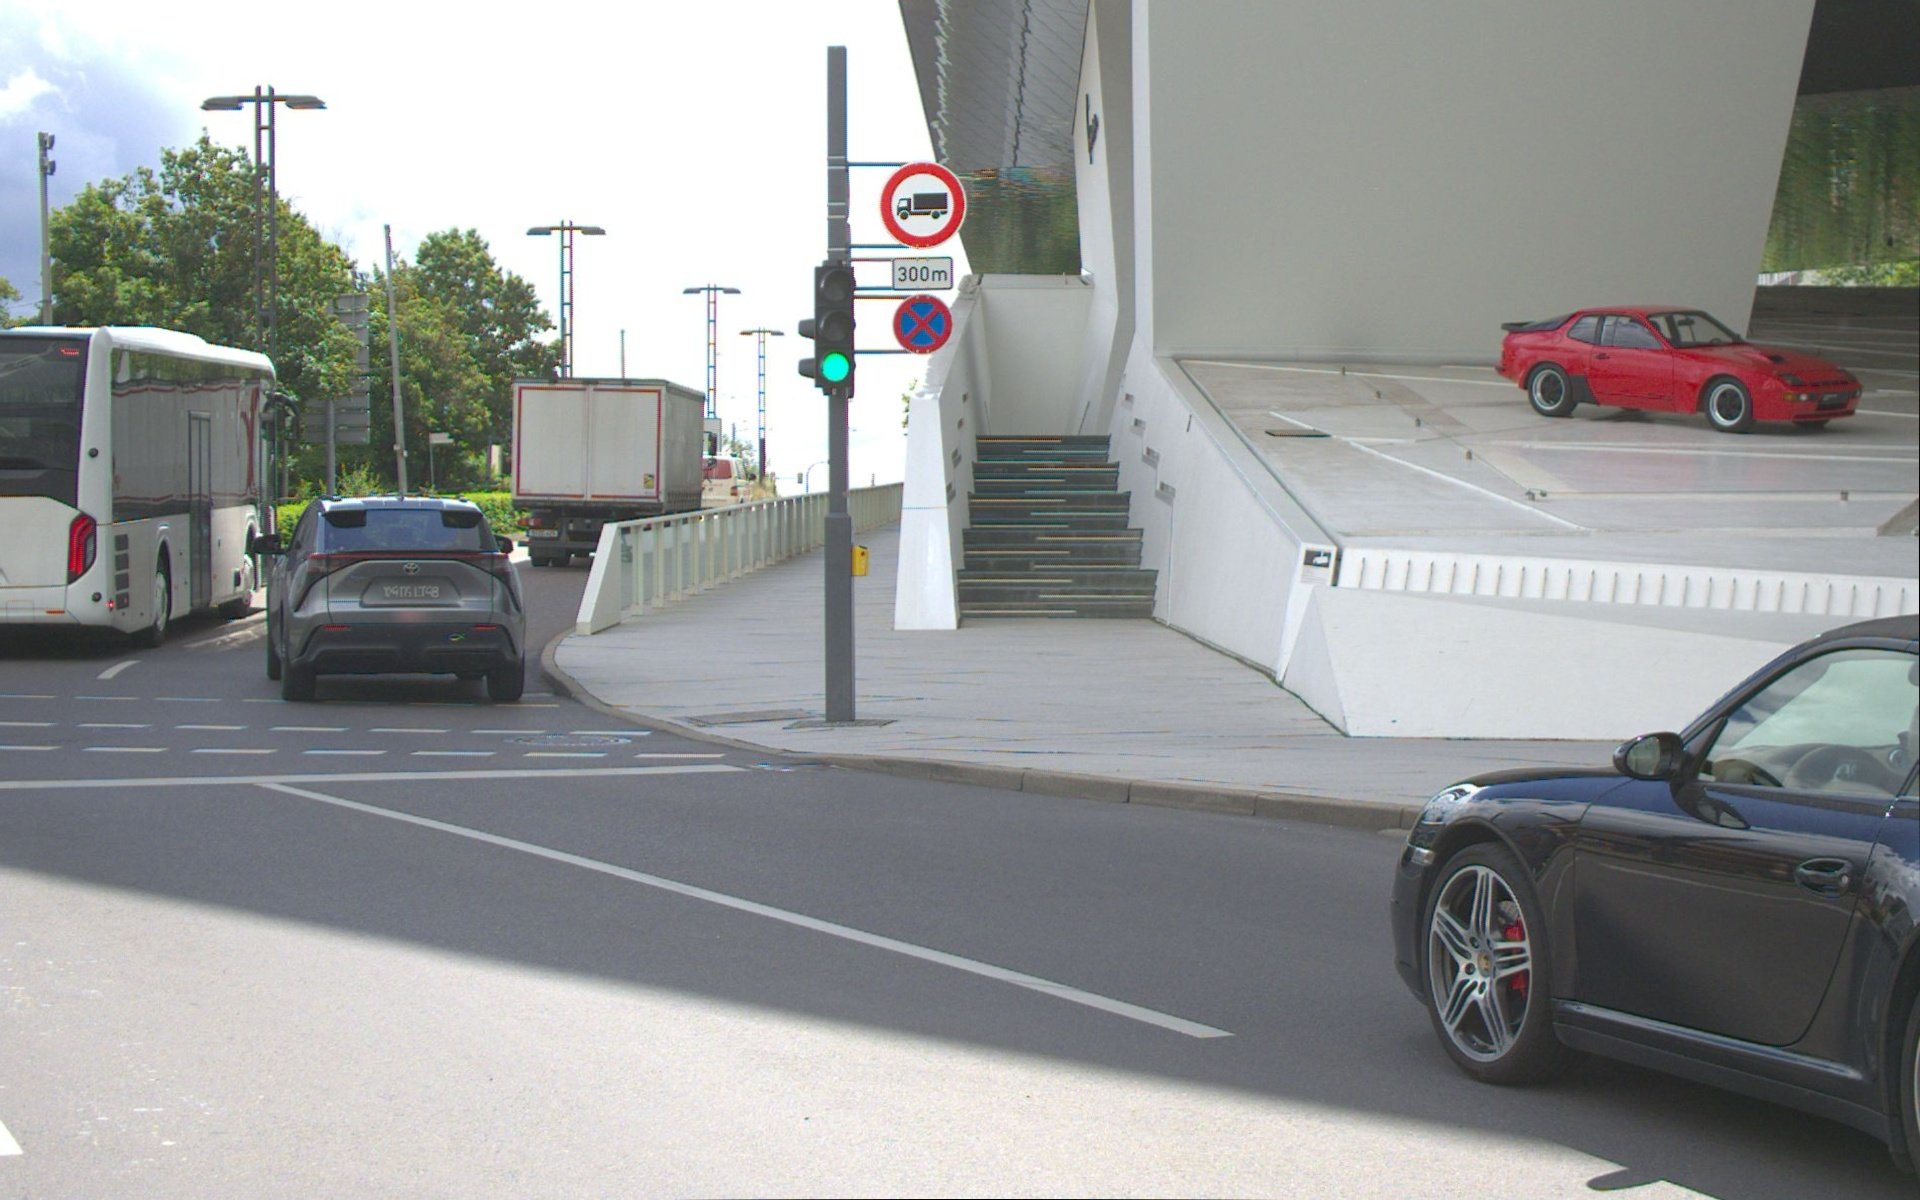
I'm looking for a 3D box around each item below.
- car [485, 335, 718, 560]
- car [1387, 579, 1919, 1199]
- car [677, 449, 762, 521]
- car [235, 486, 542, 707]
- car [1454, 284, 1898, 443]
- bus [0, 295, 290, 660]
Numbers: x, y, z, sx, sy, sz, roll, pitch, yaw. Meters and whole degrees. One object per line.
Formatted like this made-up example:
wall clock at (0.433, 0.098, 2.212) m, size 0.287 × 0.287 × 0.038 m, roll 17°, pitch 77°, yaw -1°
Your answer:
car at (-6.246, -2.563, 61.383) m, size 3.335 × 3.492 × 9.342 m, roll 1°, pitch 0°, yaw -2°
car at (2.666, 0.652, 8.087) m, size 1.833 × 1.321 × 4.001 m, roll -1°, pitch 2°, yaw -17°
car at (-6.979, -3.337, 100.158) m, size 1.994 × 1.897 × 4.000 m, roll 1°, pitch 0°, yaw 2°
car at (-4.693, -0.074, 27.791) m, size 1.993 × 1.631 × 4.001 m, roll 1°, pitch 1°, yaw -16°
car at (7.949, -2.701, 38.529) m, size 1.995 × 1.390 × 4.511 m, roll -5°, pitch 11°, yaw -41°
bus at (-9.762, -1.432, 37.857) m, size 3.071 × 3.350 × 12.226 m, roll 1°, pitch 3°, yaw -4°
